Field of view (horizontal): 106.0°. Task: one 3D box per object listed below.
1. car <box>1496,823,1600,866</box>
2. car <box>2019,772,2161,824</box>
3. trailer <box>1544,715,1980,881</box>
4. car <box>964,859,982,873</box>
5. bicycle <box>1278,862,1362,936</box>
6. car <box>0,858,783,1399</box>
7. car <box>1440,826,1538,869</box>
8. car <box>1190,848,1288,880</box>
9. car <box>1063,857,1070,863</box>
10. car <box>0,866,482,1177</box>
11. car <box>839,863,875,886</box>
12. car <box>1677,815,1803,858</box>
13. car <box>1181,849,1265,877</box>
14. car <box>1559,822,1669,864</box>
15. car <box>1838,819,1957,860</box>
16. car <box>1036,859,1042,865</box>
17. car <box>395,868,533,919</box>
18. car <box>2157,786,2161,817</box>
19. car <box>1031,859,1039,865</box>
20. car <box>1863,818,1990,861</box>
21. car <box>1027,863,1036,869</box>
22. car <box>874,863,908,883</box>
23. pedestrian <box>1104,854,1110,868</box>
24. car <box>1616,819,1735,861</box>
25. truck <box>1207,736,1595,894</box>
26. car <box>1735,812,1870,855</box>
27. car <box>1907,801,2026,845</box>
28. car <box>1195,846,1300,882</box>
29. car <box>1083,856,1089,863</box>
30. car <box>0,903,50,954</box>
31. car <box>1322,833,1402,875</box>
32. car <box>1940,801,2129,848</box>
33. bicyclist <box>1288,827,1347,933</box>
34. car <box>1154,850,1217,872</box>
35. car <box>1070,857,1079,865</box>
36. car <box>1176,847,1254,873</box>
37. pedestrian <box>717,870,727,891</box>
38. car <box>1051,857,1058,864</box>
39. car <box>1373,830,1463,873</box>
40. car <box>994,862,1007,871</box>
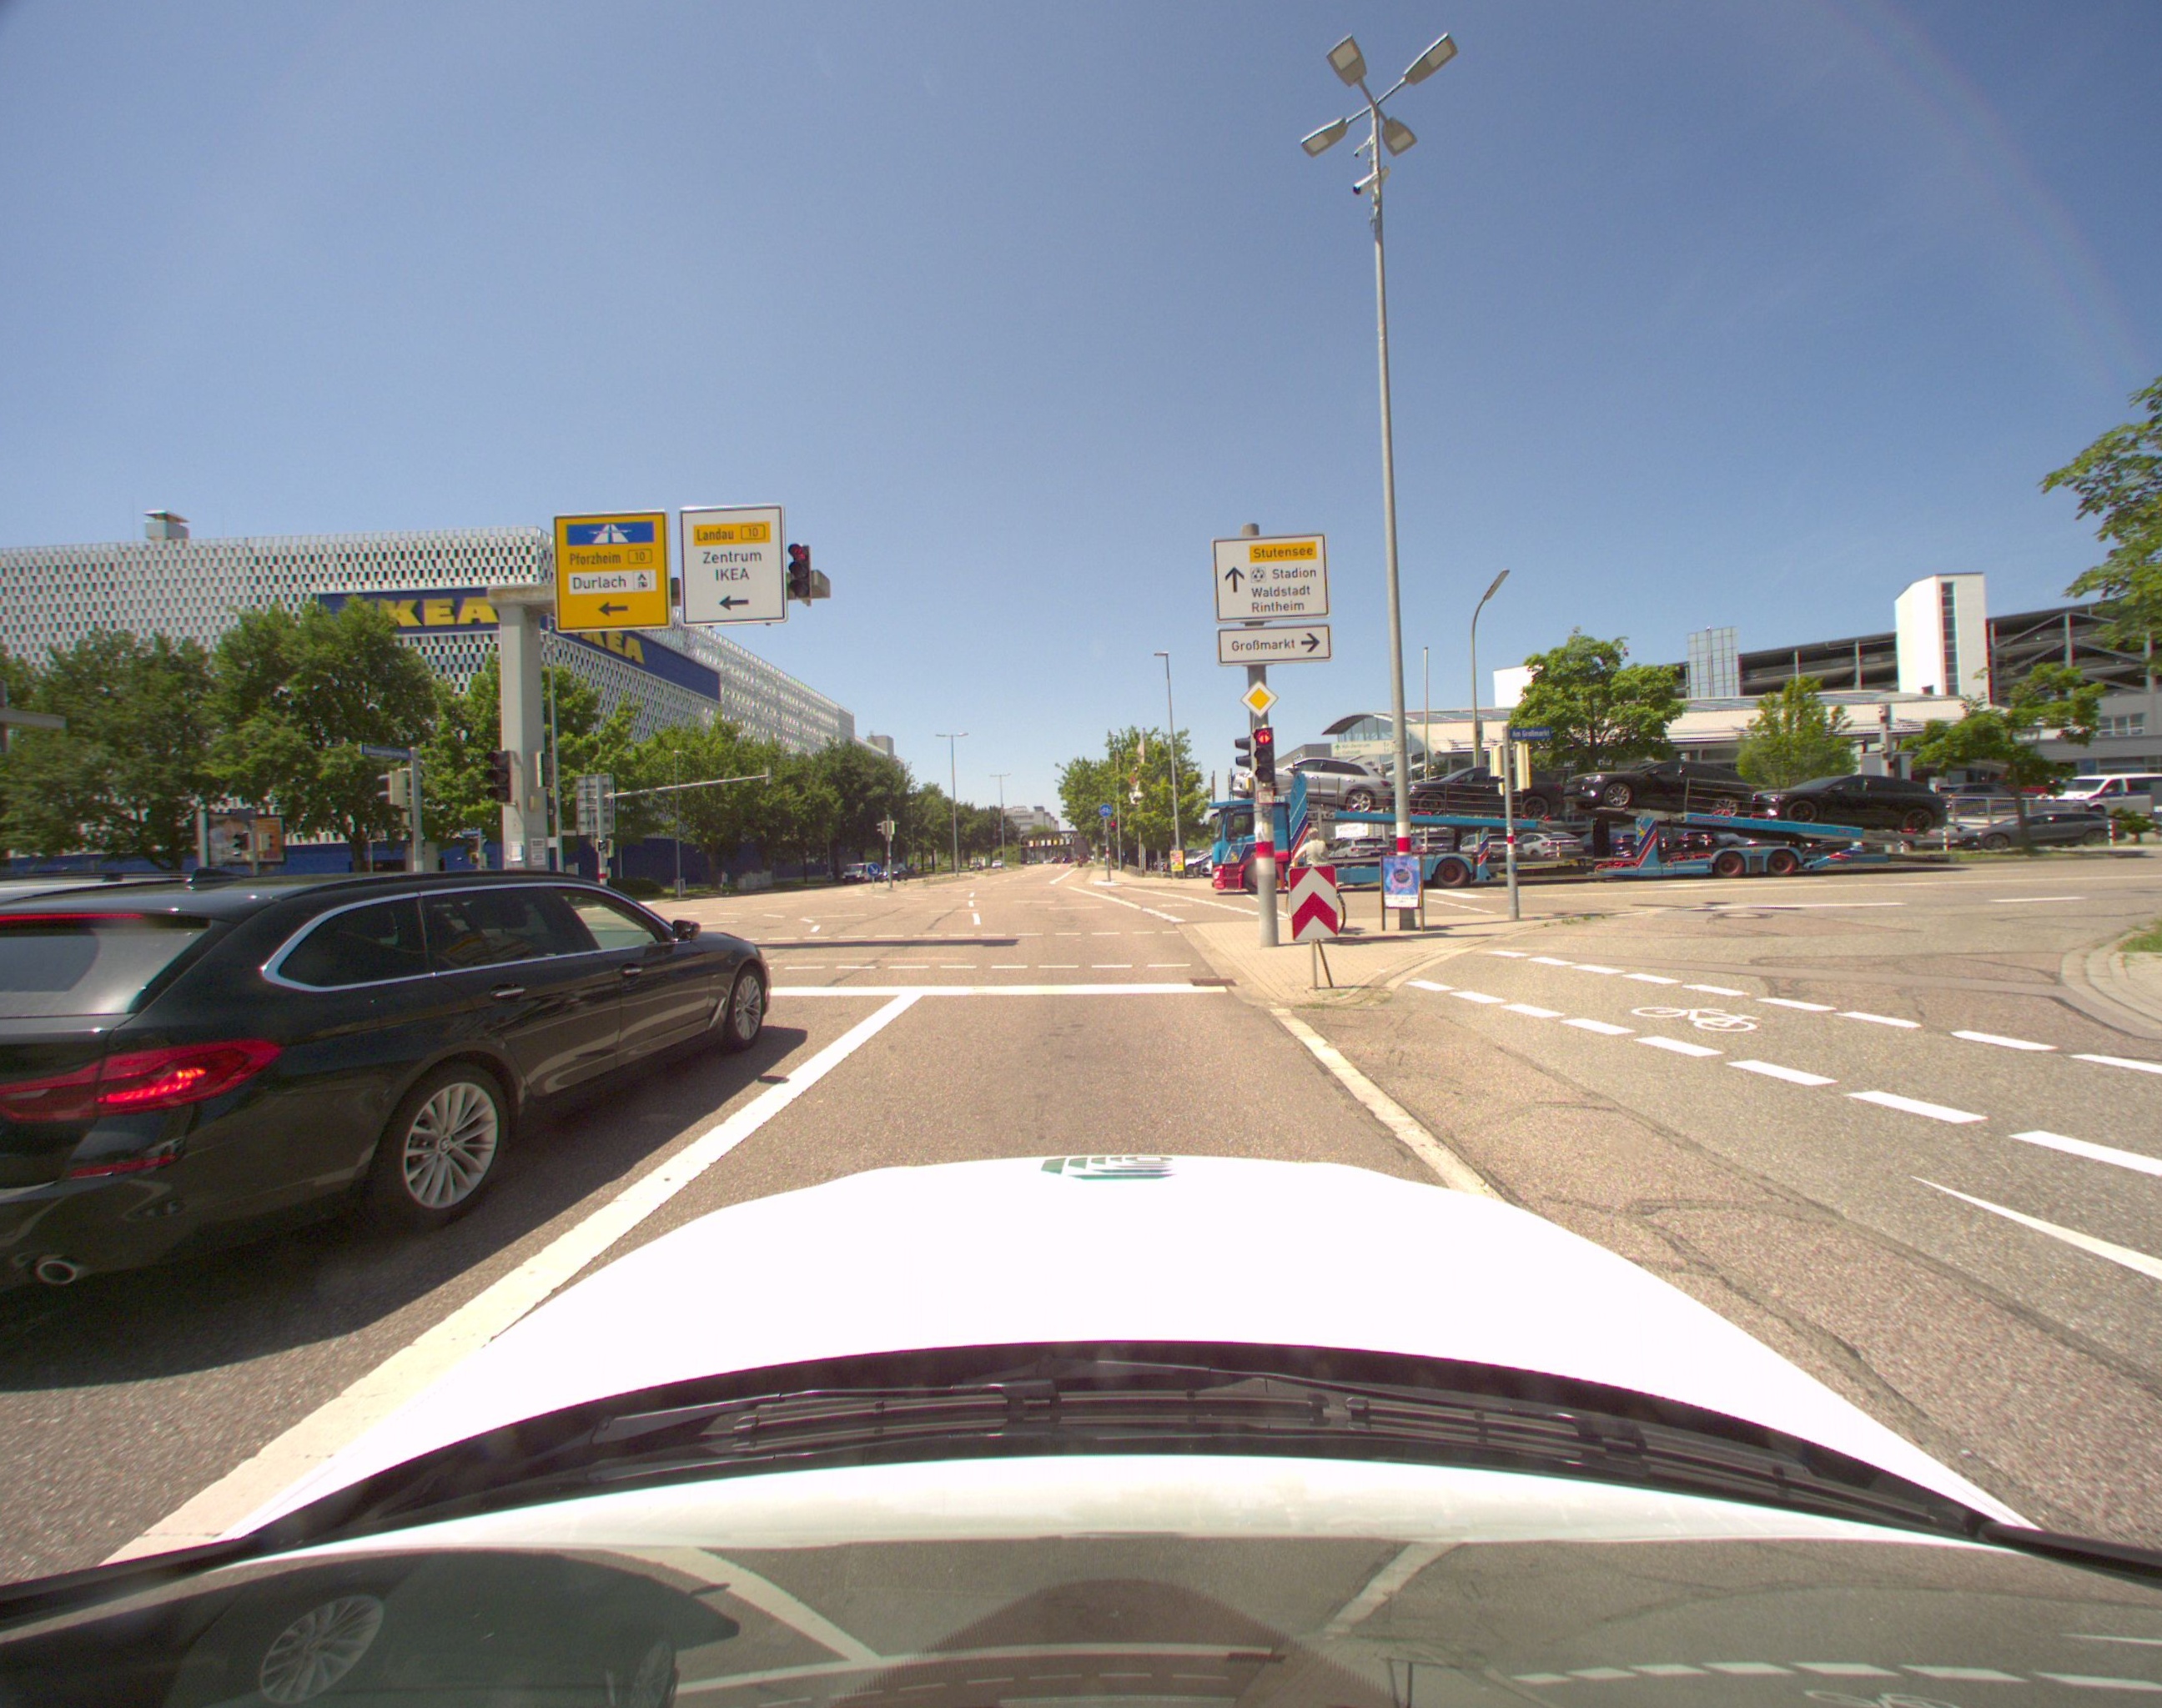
[{"bbox_3d":[19.961,-0.398,35.070,1.879,1.639,4.525,-3,0,1],"label":"car"},{"bbox_3d":[45.119,-2.467,35.928,5.110,2.013,2.000,-3,0,1],"label":"car"},{"bbox_3d":[19.358,-1.486,23.838,9.560,4.081,3.101,-2,0,7],"label":"trailer"},{"bbox_3d":[-17.622,1.975,132.766,1.984,2.014,4.004,-2,-2,4],"label":"car"},{"bbox_3d":[4.048,0.733,13.968,0.785,1.127,1.919,-1,0,-3],"label":"bicycle"},{"bbox_3d":[-3.445,0.797,4.591,1.794,1.466,4.622,-1,0,0],"label":"car"},{"bbox_3d":[17.475,-0.296,35.114,1.987,1.639,4.441,-3,0,1],"label":"car"},{"bbox_3d":[8.111,0.529,42.143,4.722,1.457,2.001,-2,-1,2],"label":"car"},{"bbox_3d":[-3.976,1.724,226.659,1.766,1.728,4.000,-3,-1,1],"label":"car"},{"bbox_3d":[-6.383,0.878,5.580,1.795,1.494,3.993,-2,0,-5],"label":"car"},{"bbox_3d":[-21.952,1.973,80.033,1.986,2.007,4.765,-3,-1,1],"label":"car"},{"bbox_3d":[28.171,-0.713,35.025,1.821,1.639,4.475,-3,0,1],"label":"car"},{"bbox_3d":[8.651,0.543,49.902,4.728,1.457,1.999,-2,0,-1],"label":"car"},{"bbox_3d":[22.826,-0.466,35.124,1.821,1.639,4.475,-3,0,1],"label":"car"},{"bbox_3d":[40.036,-0.704,40.054,3.721,1.772,1.781,-3,0,31],"label":"car"},{"bbox_3d":[-12.413,2.344,243.044,1.644,1.653,4.161,-3,0,-2],"label":"car"},{"bbox_3d":[-23.240,1.474,30.712,4.168,1.652,1.720,-3,0,11],"label":"car"},{"bbox_3d":[63.442,-3.075,45.355,1.727,1.786,4.000,-3,0,1],"label":"car"},{"bbox_3d":[-12.059,2.020,212.845,1.679,1.411,3.665,-3,-1,1],"label":"car"},{"bbox_3d":[38.851,-0.664,37.543,3.665,1.777,1.759,-3,0,27],"label":"car"},{"bbox_3d":[-12.025,2.906,196.605,1.726,1.427,3.706,-4,-1,1],"label":"car"},{"bbox_3d":[-17.207,1.684,73.925,1.868,1.598,4.496,-3,-1,1],"label":"car"},{"bbox_3d":[2.890,0.735,90.947,0.665,1.510,0.736,-3,0,0],"label":"pedestrian"},{"bbox_3d":[25.457,-0.604,35.092,1.822,1.639,4.473,-2,0,0],"label":"car"},{"bbox_3d":[9.328,-1.075,25.033,10.560,4.082,3.107,-2,0,7],"label":"truck"},{"bbox_3d":[30.838,-0.834,35.016,1.821,1.639,4.475,-3,0,1],"label":"car"},{"bbox_3d":[45.323,-1.540,41.750,3.729,2.013,1.865,-3,0,10],"label":"car"},{"bbox_3d":[7.975,0.466,39.359,4.722,1.457,2.001,-2,0,2],"label":"car"},{"bbox_3d":[1.389,1.449,225.597,1.766,1.728,4.000,-3,-1,1],"label":"car"},{"bbox_3d":[-32.451,2.220,23.057,4.266,1.342,1.777,-3,1,2],"label":"car"},{"bbox_3d":[12.052,-0.024,35.192,1.987,1.639,4.269,-2,0,1],"label":"car"},{"bbox_3d":[39.172,-1.181,33.616,4.706,1.639,1.844,-3,0,23],"label":"car"},{"bbox_3d":[4.017,0.426,13.865,0.732,1.749,0.753,-1,0,-4],"label":"bicyclist"},{"bbox_3d":[8.333,0.527,65.199,4.728,1.457,1.999,-3,0,-1],"label":"car"},{"bbox_3d":[-0.844,0.979,111.636,1.133,1.042,2.308,-3,0,1],"label":"car"},{"bbox_3d":[8.630,0.353,52.729,4.728,1.457,1.999,-2,0,-1],"label":"car"},{"bbox_3d":[-26.361,1.940,59.766,0.460,1.482,0.484,-3,-1,5],"label":"pedestrian"},{"bbox_3d":[-7.205,1.827,224.074,1.766,1.728,4.000,-3,-1,1],"label":"car"},{"bbox_3d":[14.433,-0.119,35.209,1.987,1.639,4.558,-3,0,1],"label":"car"},{"bbox_3d":[-15.707,2.477,158.919,1.918,1.665,4.092,-3,-1,3],"label":"car"}]
